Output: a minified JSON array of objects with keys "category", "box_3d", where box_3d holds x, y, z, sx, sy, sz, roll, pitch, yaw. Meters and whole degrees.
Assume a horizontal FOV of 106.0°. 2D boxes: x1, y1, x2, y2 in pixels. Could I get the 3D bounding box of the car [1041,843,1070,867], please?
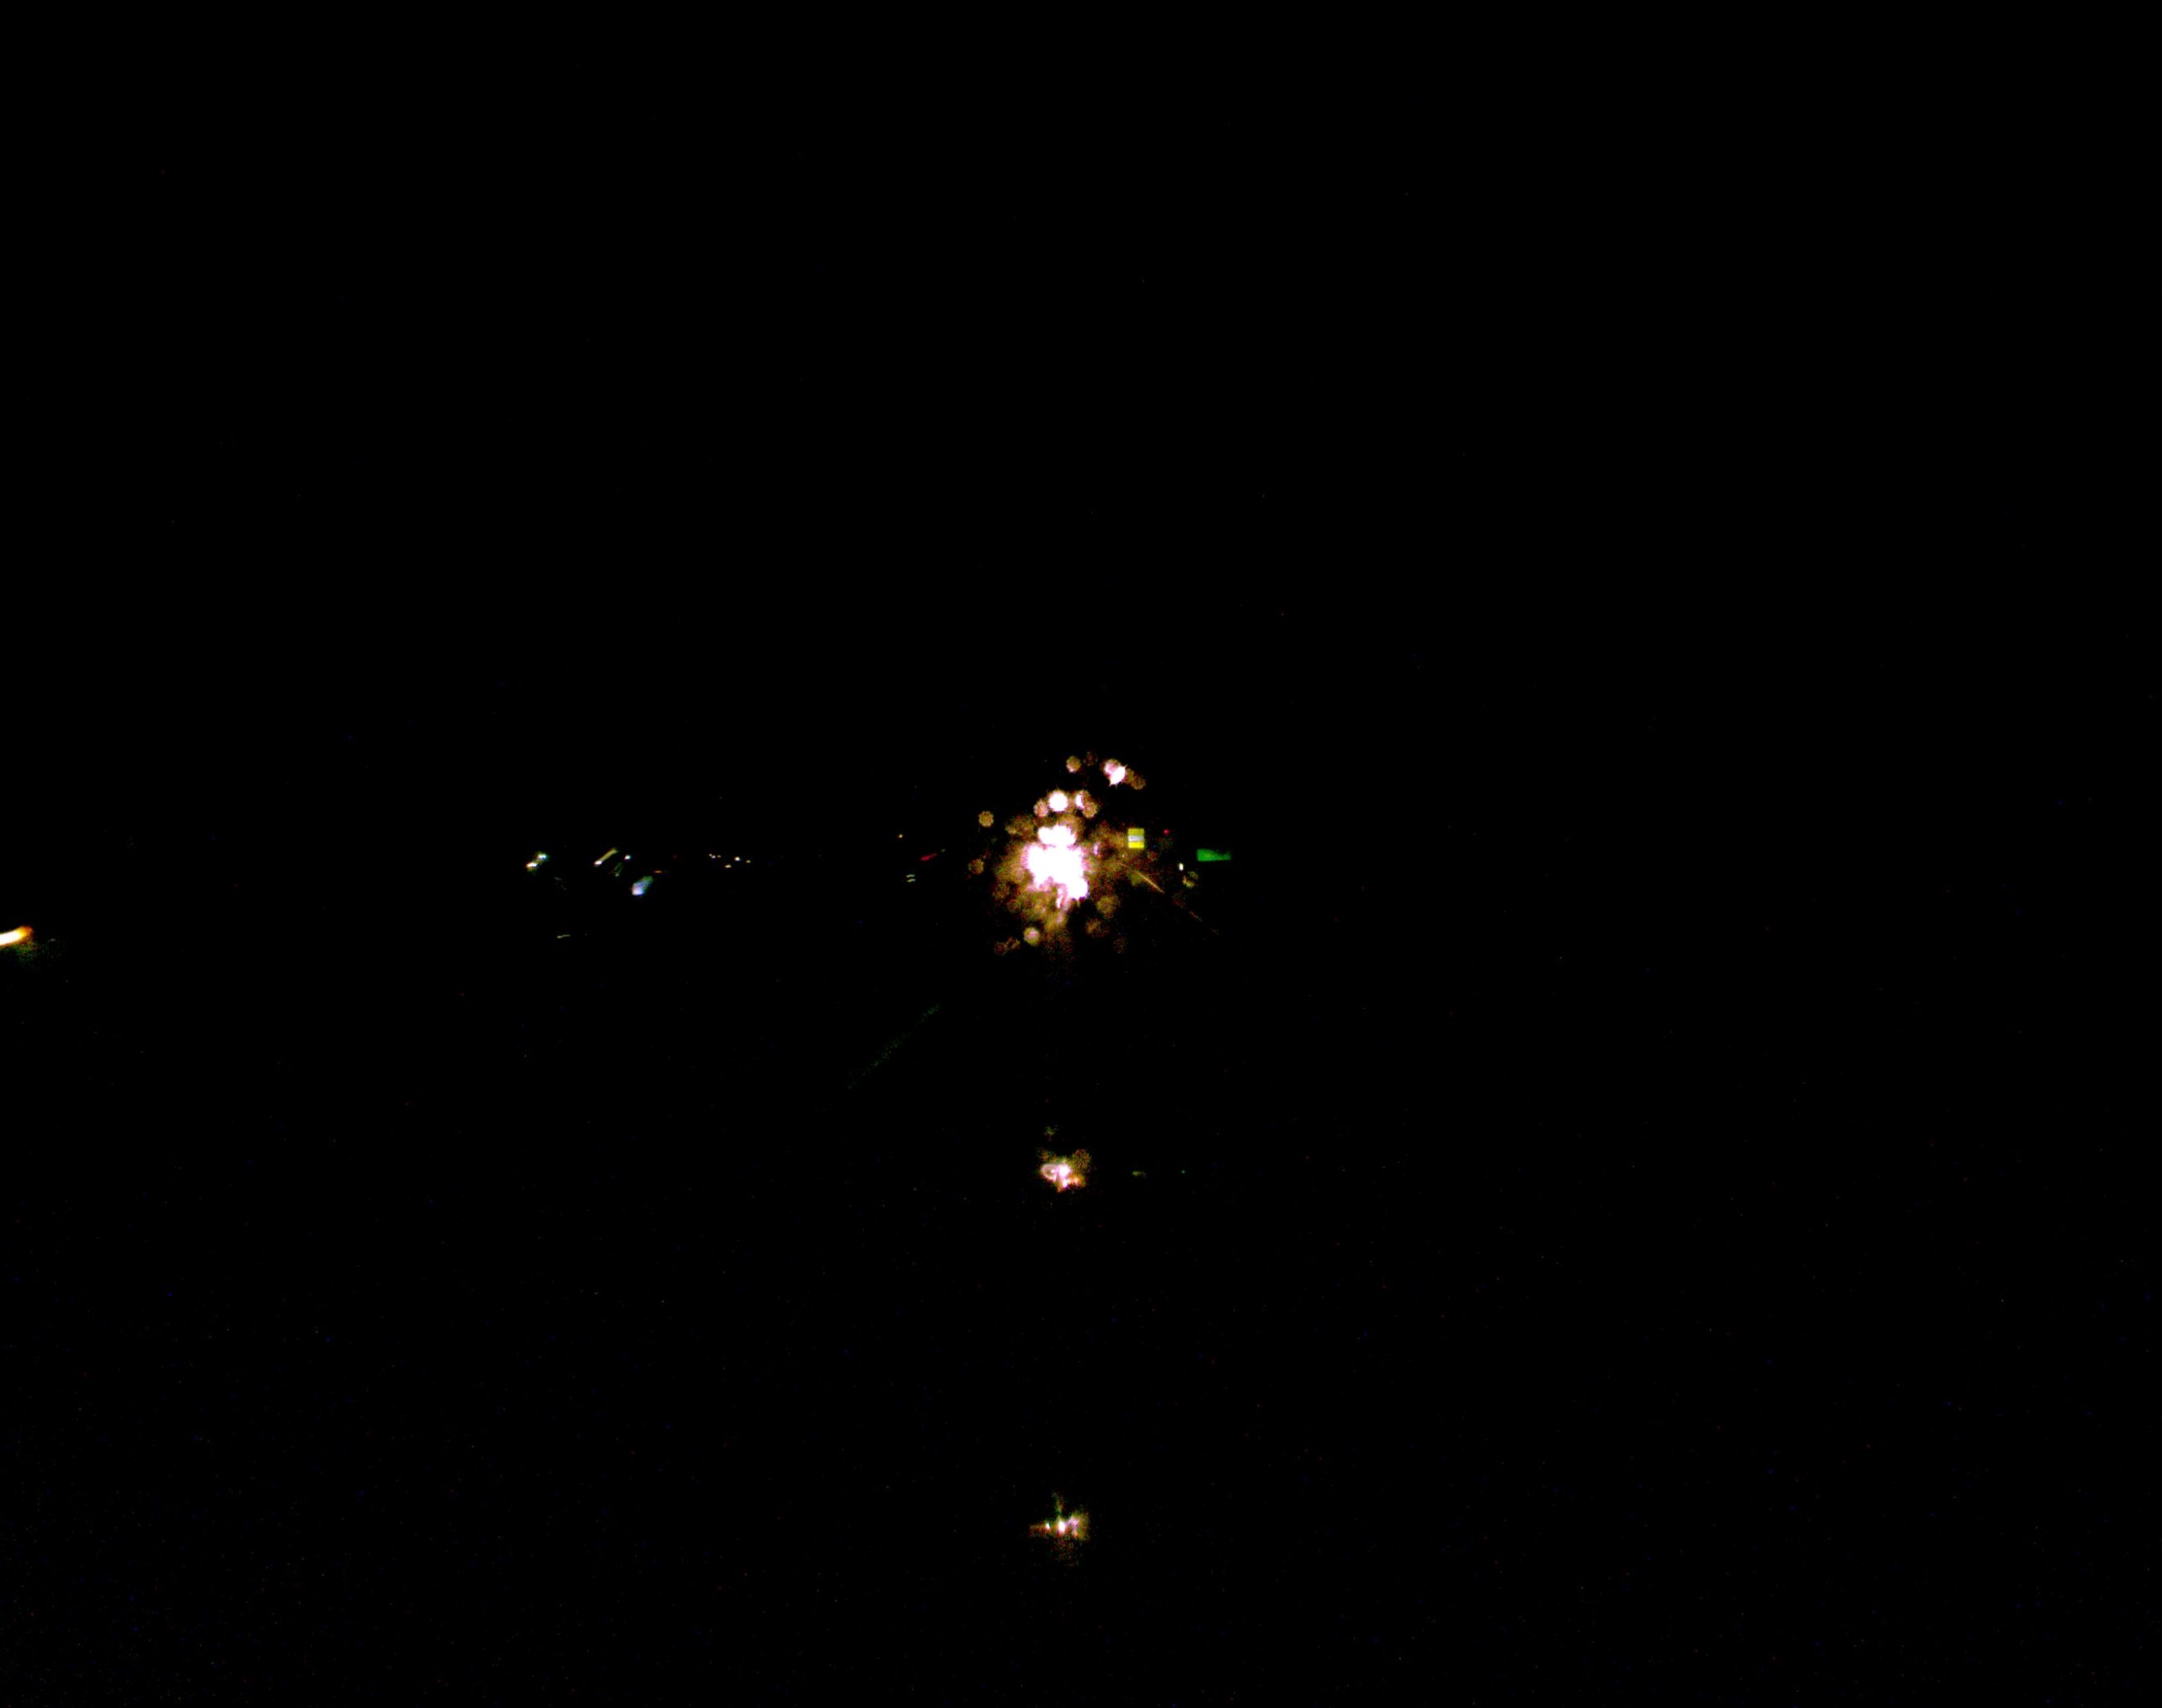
[{"category":"car","box_3d":[-2.764,0.177,88.950,2.743,2.269,6.260,-5,-1,0]}]
